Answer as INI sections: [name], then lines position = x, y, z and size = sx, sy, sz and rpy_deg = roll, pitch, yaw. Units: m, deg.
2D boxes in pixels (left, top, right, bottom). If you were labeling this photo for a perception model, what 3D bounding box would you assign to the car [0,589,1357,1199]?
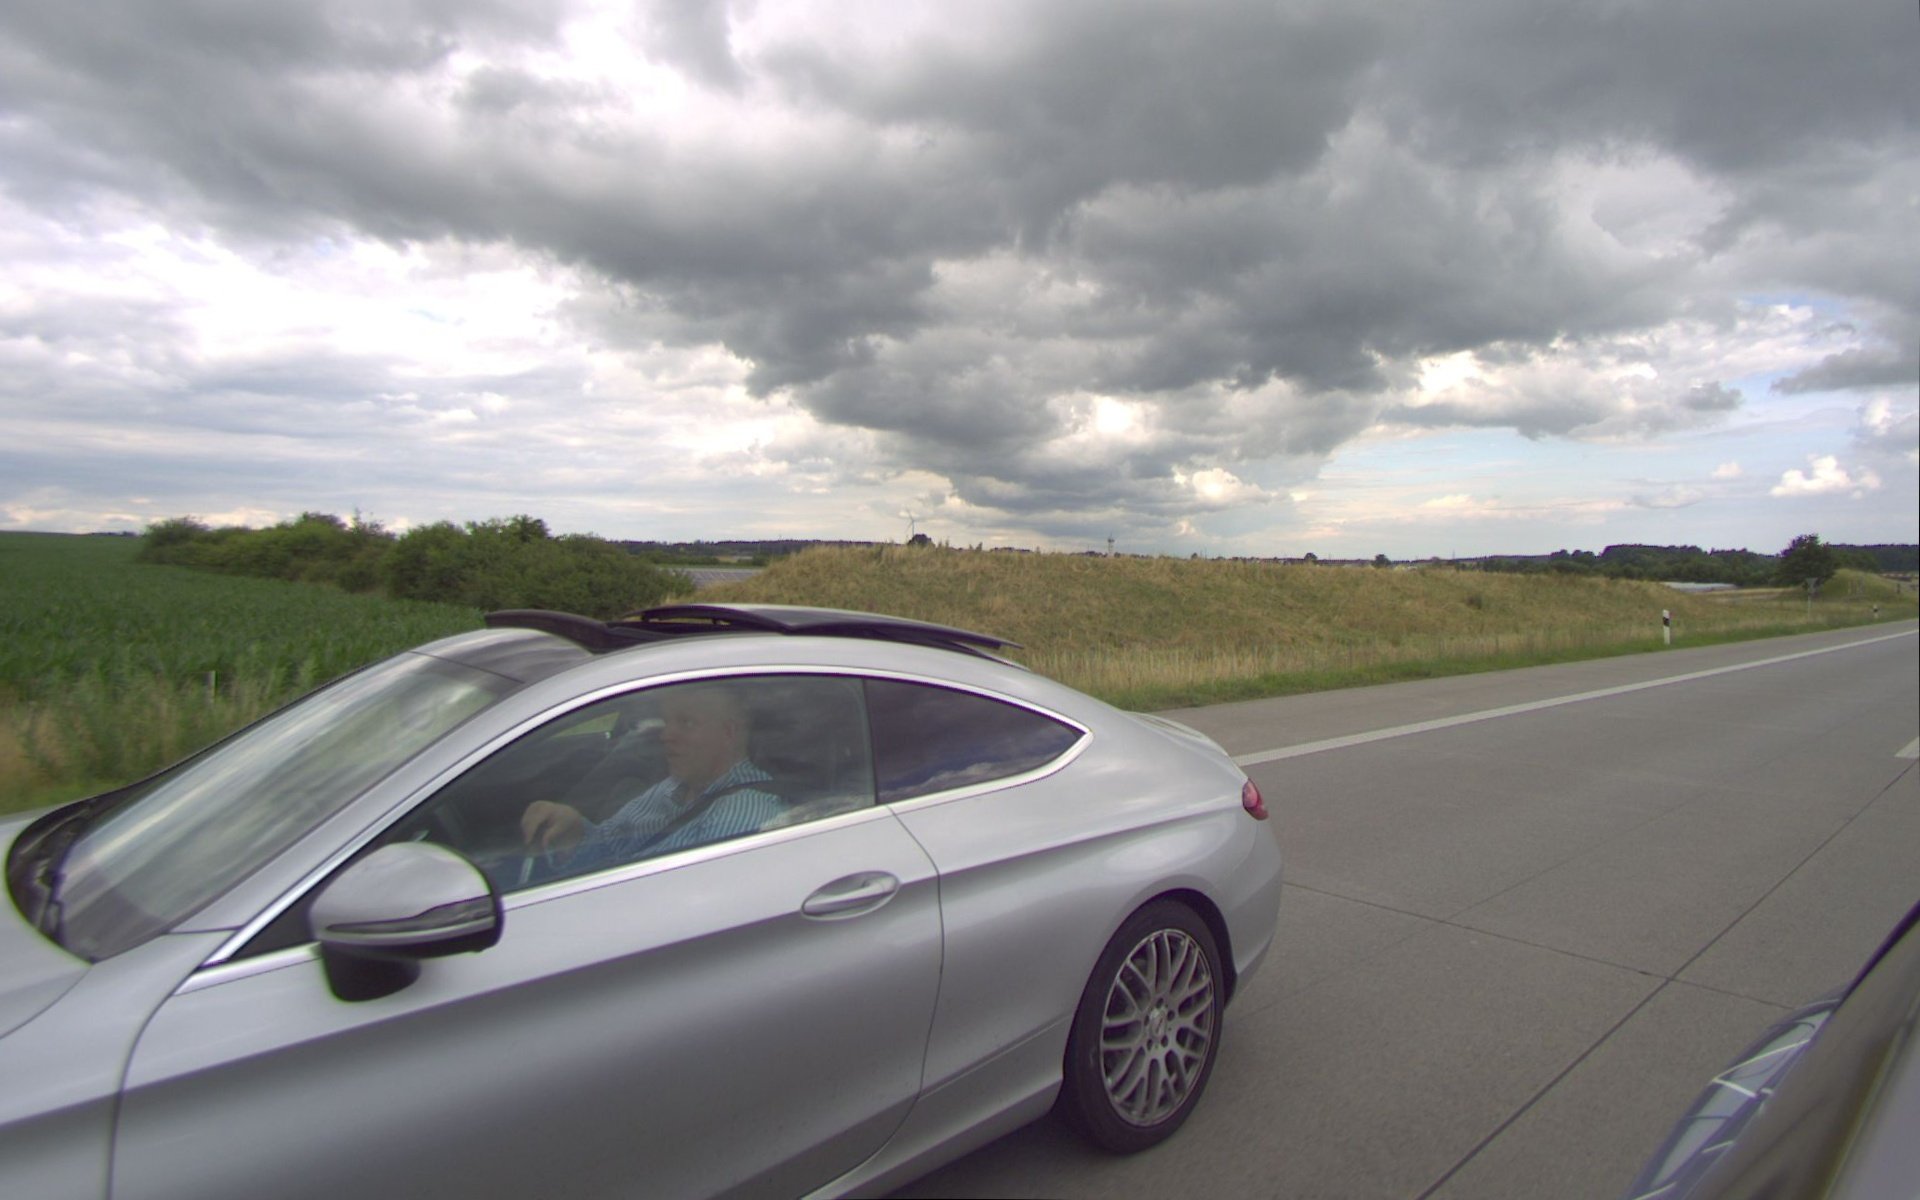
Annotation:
[car]
position = -0.907, 0.695, 2.516
size = 4.147, 1.421, 1.792
rpy_deg = -1, 1, -40
